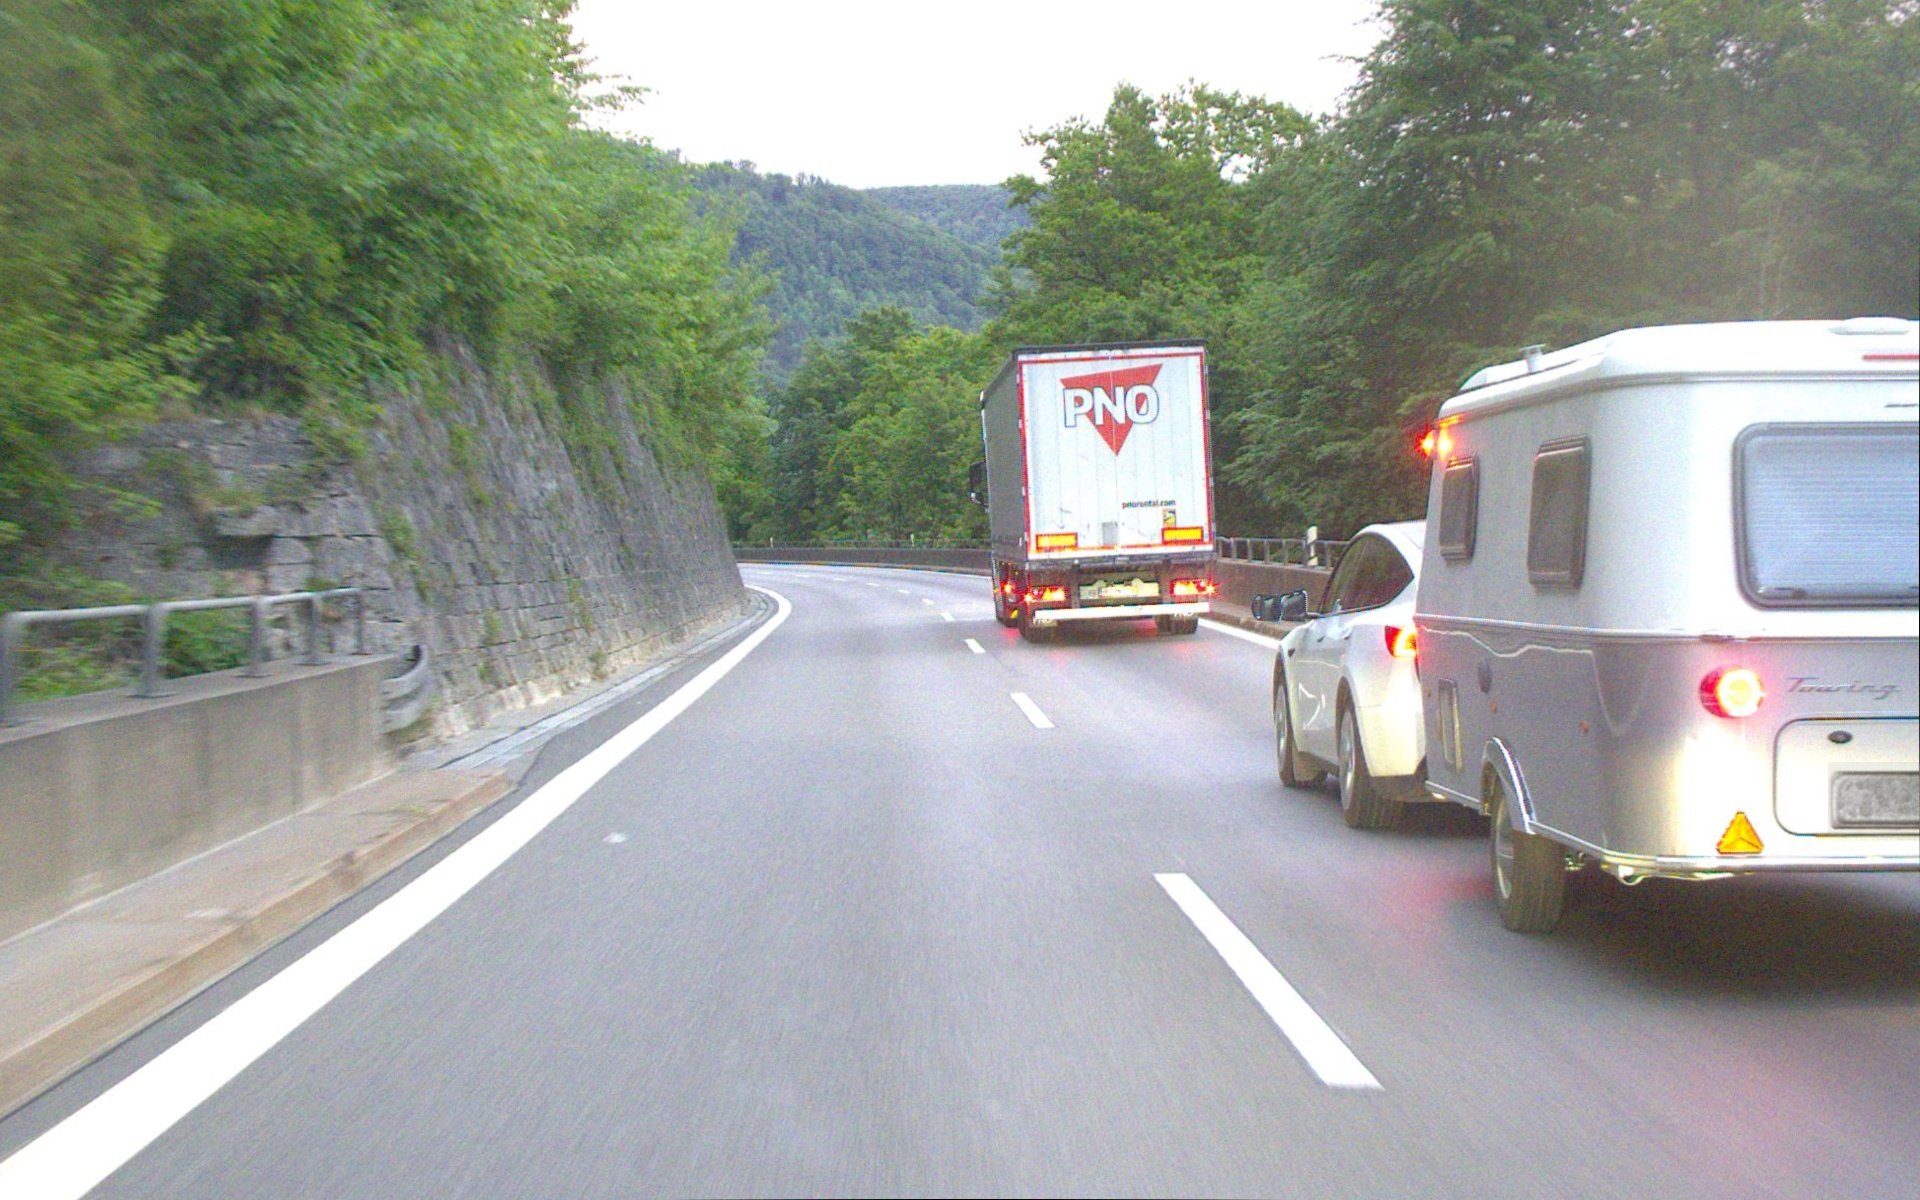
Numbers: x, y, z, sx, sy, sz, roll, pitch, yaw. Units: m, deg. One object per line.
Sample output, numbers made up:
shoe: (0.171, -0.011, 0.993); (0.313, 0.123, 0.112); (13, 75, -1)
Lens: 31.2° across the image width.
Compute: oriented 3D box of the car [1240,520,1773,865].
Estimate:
car: (2.857, 0.418, 19.137); (1.993, 1.609, 4.865); (-2, 1, -2)

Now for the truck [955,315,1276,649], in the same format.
truck: (2.009, -1.631, 52.826); (3.294, 4.158, 16.504); (-3, 1, -2)

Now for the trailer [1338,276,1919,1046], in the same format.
trailer: (2.971, 0.120, 13.725); (2.054, 2.367, 5.938); (-2, 1, -1)
